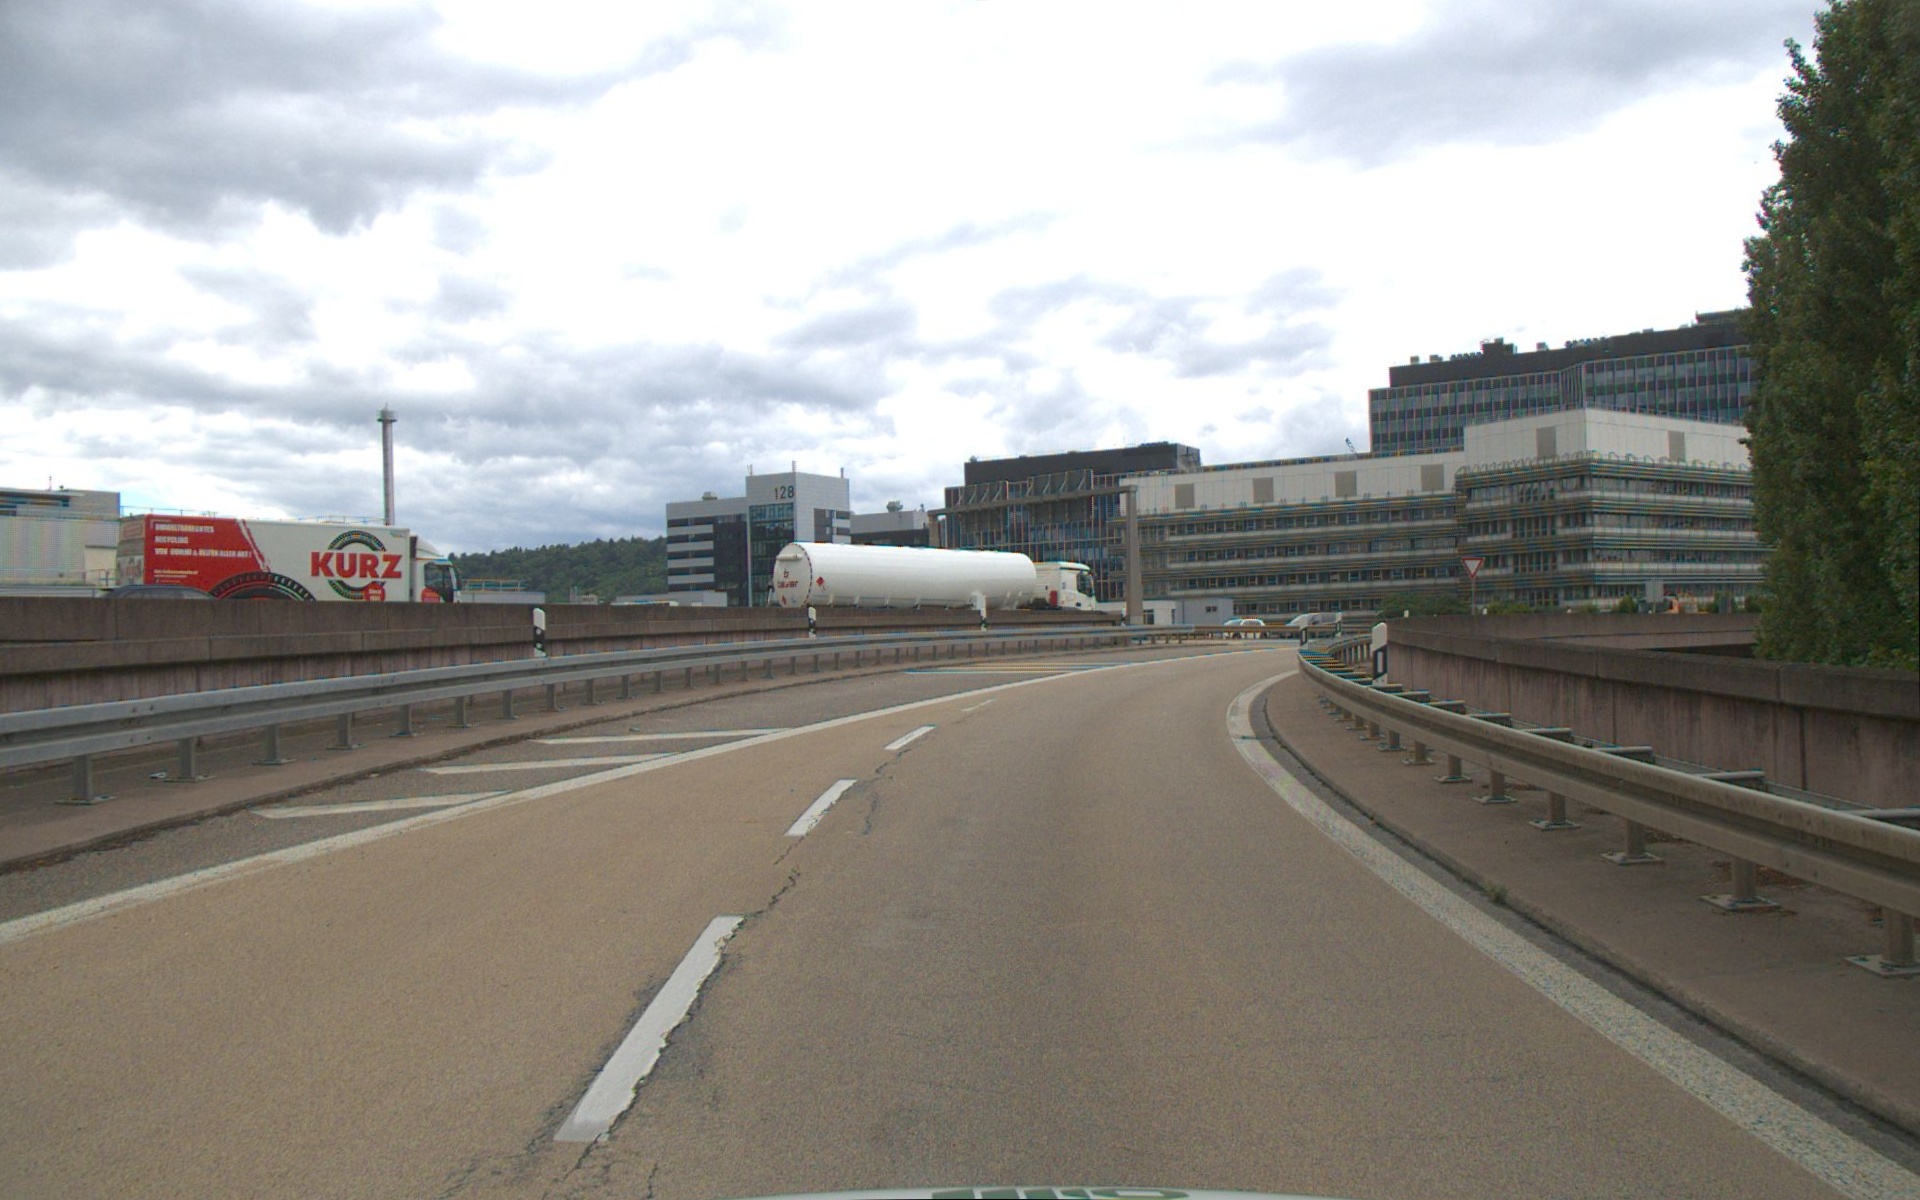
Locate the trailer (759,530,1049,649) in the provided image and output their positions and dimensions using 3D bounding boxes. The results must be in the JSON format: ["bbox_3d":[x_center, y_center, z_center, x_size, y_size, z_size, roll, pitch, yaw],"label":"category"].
[{"bbox_3d":[-1.724,-0.331,58.124,11.062,3.803,2.757,0,-2,-43],"label":"trailer"}]

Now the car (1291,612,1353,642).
[{"bbox_3d":[20.416,1.509,93.241,3.654,1.619,1.625,0,-2,-42],"label":"car"}]

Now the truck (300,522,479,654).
[{"bbox_3d":[-17.094,-0.324,49.655,4.402,3.755,2.657,0,-2,-43],"label":"truck"}]

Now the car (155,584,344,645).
[{"bbox_3d":[-18.658,0.373,43.538,4.229,1.531,1.824,1,0,-42],"label":"car"}]

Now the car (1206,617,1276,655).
[{"bbox_3d":[16.860,2.146,99.249,3.962,2.047,1.973,2,4,-40],"label":"car"}]

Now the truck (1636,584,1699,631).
[{"bbox_3d":[55.967,0.591,130.755,5.066,3.541,2.707,0,-2,-44],"label":"truck"}]

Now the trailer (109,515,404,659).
[{"bbox_3d":[-19.875,-0.315,47.021,7.254,3.755,2.656,0,-2,-43],"label":"trailer"}]

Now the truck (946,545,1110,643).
[{"bbox_3d":[2.604,-0.195,62.120,5.914,3.491,2.735,0,-2,-42],"label":"truck"}]

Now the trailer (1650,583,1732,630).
[{"bbox_3d":[59.307,0.514,133.991,9.283,3.700,2.699,0,-2,-44],"label":"trailer"}]
